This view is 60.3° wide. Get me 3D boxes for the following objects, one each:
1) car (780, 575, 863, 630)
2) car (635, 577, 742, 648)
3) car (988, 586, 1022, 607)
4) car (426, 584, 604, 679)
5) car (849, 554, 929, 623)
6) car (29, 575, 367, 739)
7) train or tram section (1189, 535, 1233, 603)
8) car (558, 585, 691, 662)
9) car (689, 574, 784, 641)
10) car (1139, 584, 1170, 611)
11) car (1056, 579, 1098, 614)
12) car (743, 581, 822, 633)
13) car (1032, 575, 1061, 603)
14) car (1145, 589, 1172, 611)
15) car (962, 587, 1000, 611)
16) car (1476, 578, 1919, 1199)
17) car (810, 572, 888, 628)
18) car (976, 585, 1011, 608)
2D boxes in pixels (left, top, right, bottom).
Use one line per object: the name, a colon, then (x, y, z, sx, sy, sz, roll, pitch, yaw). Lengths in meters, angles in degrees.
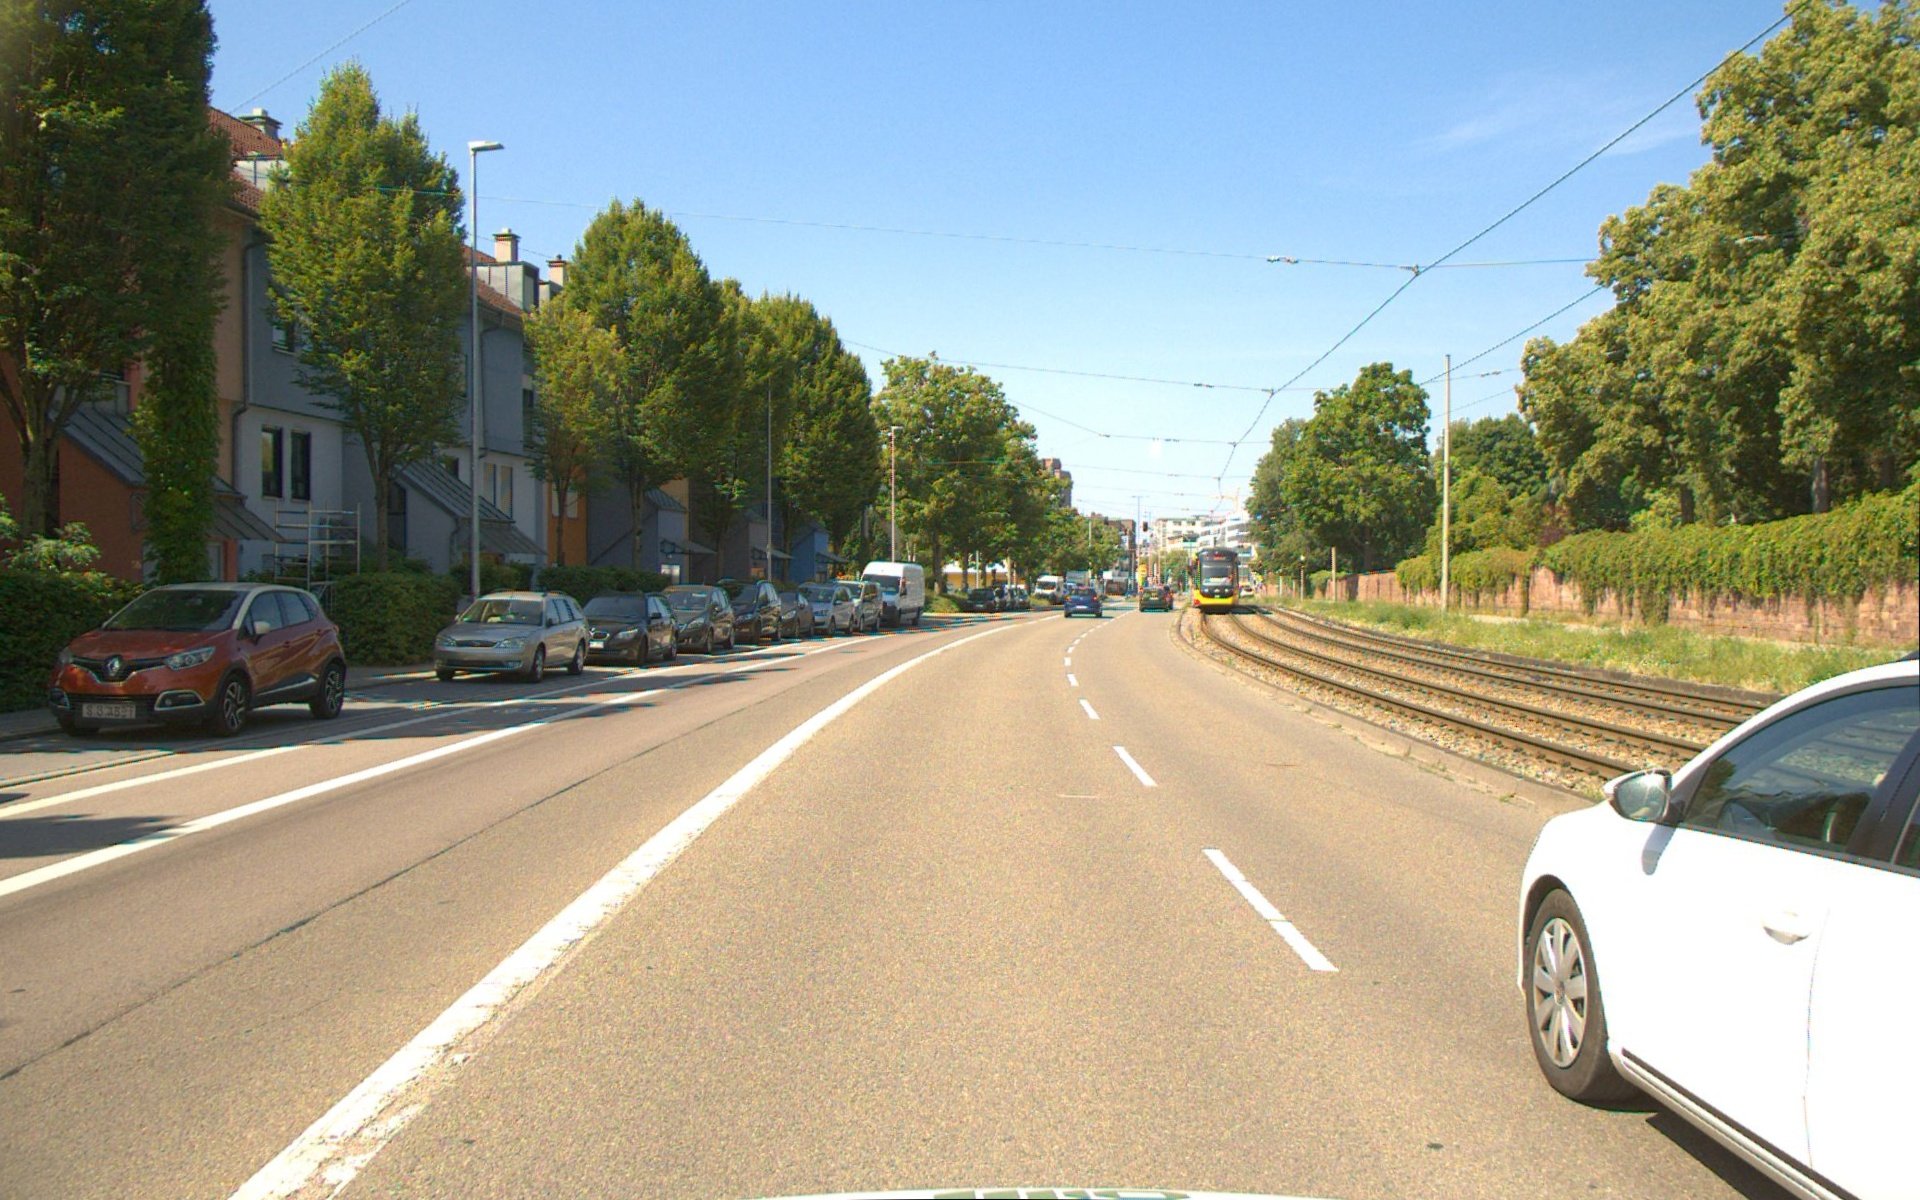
car: (-4.817, 0.071, 58.148, 1.762, 1.754, 4.913, 3, 1, 9)
car: (-6.785, 0.272, 41.797, 1.681, 1.653, 4.315, 1, 1, 4)
car: (3.137, -0.248, 114.642, 1.663, 1.375, 4.004, 0, 0, 11)
car: (-7.772, 0.508, 29.353, 1.744, 1.509, 4.858, 1, 0, 1)
car: (-2.999, -0.493, 71.686, 1.952, 2.761, 7.163, 3, 1, 9)
car: (-8.250, 0.531, 18.382, 1.695, 1.579, 4.319, 1, 1, 1)
train or tram section: (15.132, -1.798, 99.179, 2.457, 3.812, 13.322, 0, 1, 9)
car: (-7.201, 0.457, 35.953, 1.687, 1.500, 4.717, 2, 1, 2)
car: (-6.314, 0.166, 47.203, 1.732, 1.753, 4.872, 2, 1, 3)
car: (11.590, -0.150, 98.455, 1.762, 1.533, 4.003, 1, 1, 7)
car: (5.622, -0.205, 79.165, 1.762, 1.533, 4.004, 1, 2, 7)
car: (-5.633, 0.200, 52.774, 1.655, 1.500, 4.051, 3, 1, 5)
car: (7.791, -1.021, 148.603, 1.840, 2.458, 5.121, 0, 0, 11)
car: (13.495, -0.022, 112.412, 1.762, 1.485, 4.003, 0, 1, 7)
car: (1.317, -0.050, 101.862, 1.663, 1.442, 4.004, 0, 0, 11)
car: (2.697, 0.693, 3.609, 1.657, 1.476, 4.457, 0, 1, -1)
car: (-4.211, -0.020, 63.506, 1.879, 1.982, 5.358, 3, 1, 8)
car: (2.216, -0.264, 109.304, 1.663, 1.508, 4.004, 0, 0, 11)
